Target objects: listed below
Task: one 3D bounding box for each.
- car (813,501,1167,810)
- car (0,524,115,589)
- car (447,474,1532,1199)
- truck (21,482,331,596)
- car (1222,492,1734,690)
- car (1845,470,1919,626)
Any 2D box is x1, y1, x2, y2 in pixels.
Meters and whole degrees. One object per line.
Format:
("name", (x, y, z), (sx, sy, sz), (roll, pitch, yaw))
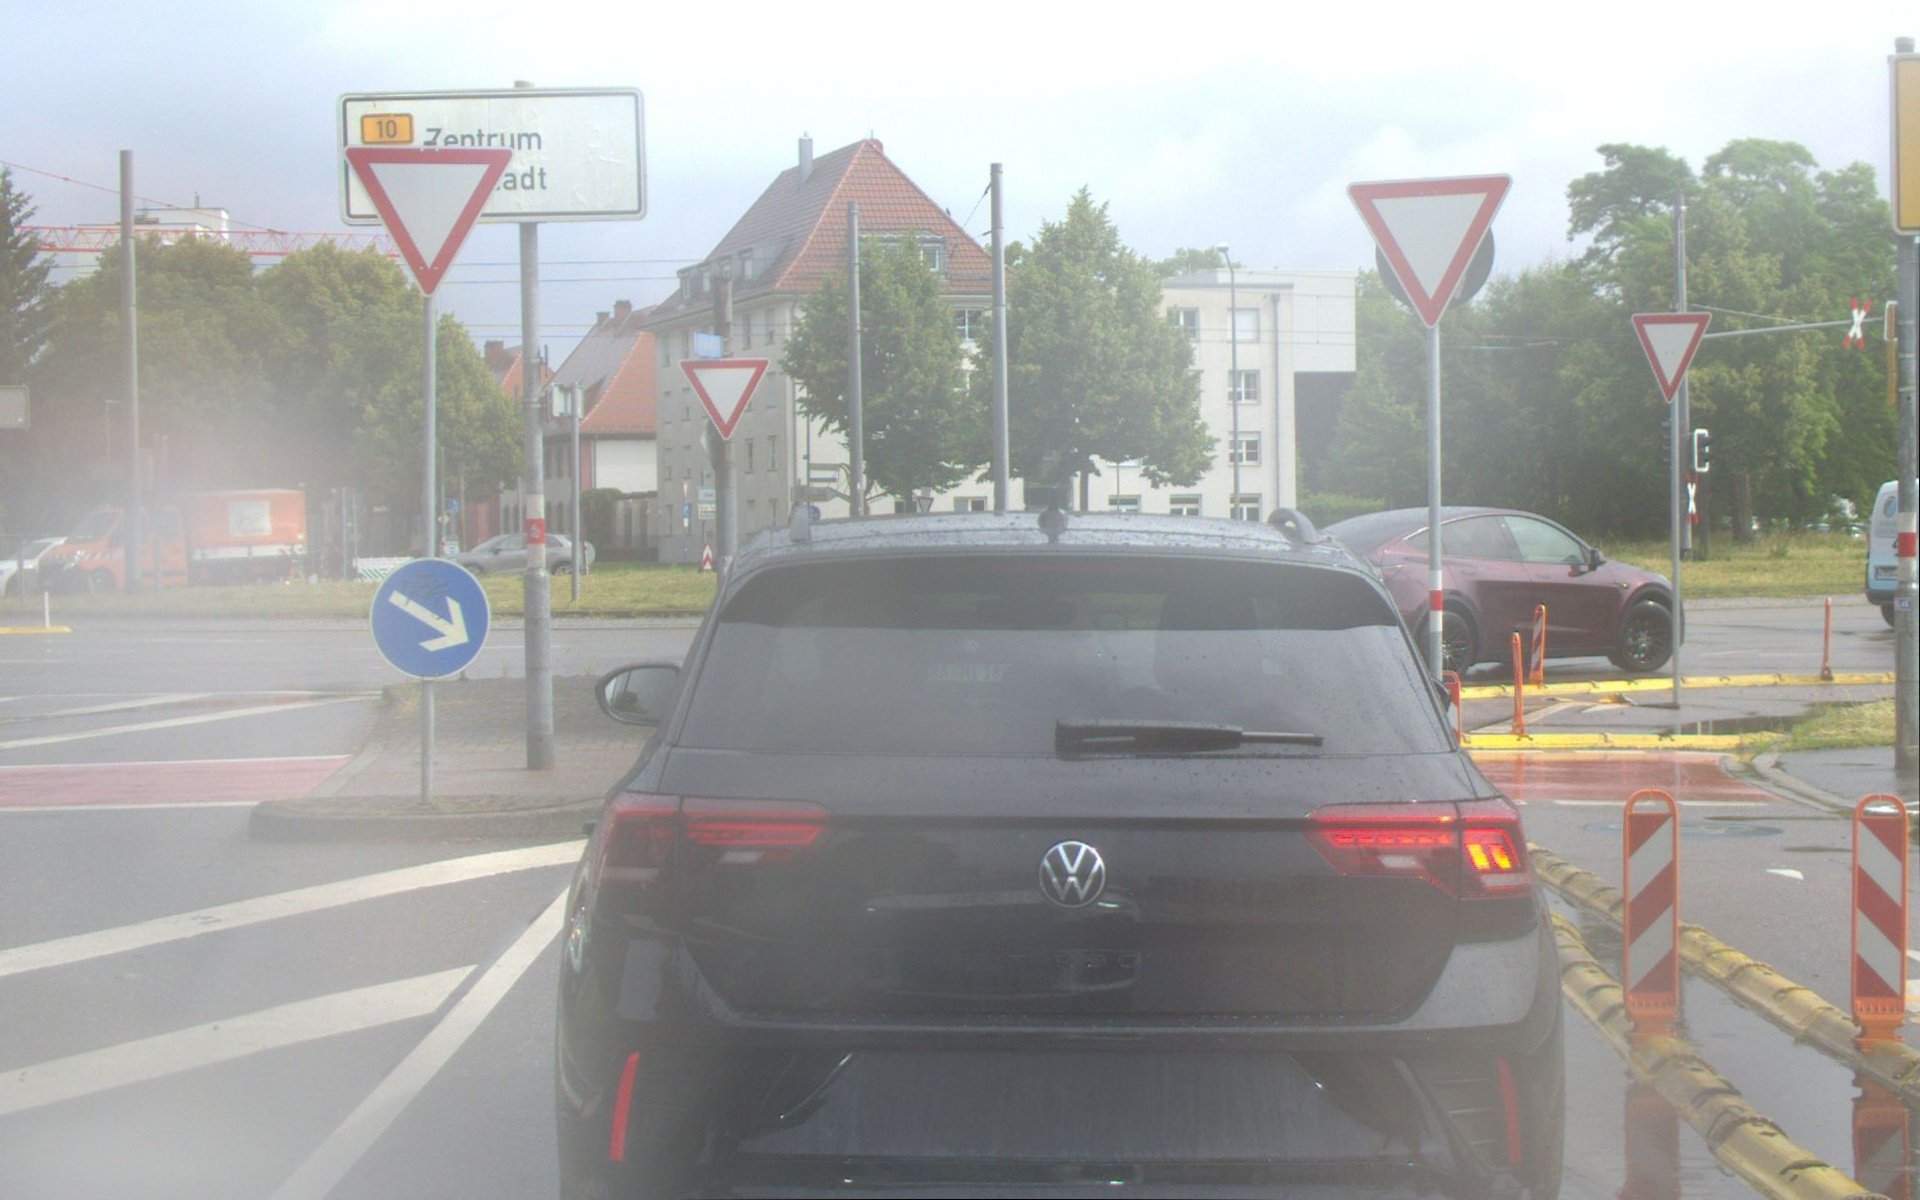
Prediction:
("car", (0.083, 0.230, 18.724), (1.735, 1.509, 3.604), (0, 1, -2))
("car", (-22.953, -1.090, 85.374), (3.496, 1.579, 1.567), (-1, 2, -39))
("car", (-0.046, 0.560, 7.259), (1.708, 1.568, 3.683), (0, 1, -3))
("truck", (-18.944, -1.507, 83.361), (7.070, 2.641, 2.329), (-1, 2, -41))
("car", (4.881, -0.123, 32.441), (4.341, 1.719, 2.001), (-1, 1, -22))
("car", (12.955, -0.636, 41.017), (4.388, 1.803, 1.871), (-1, 1, -22))
